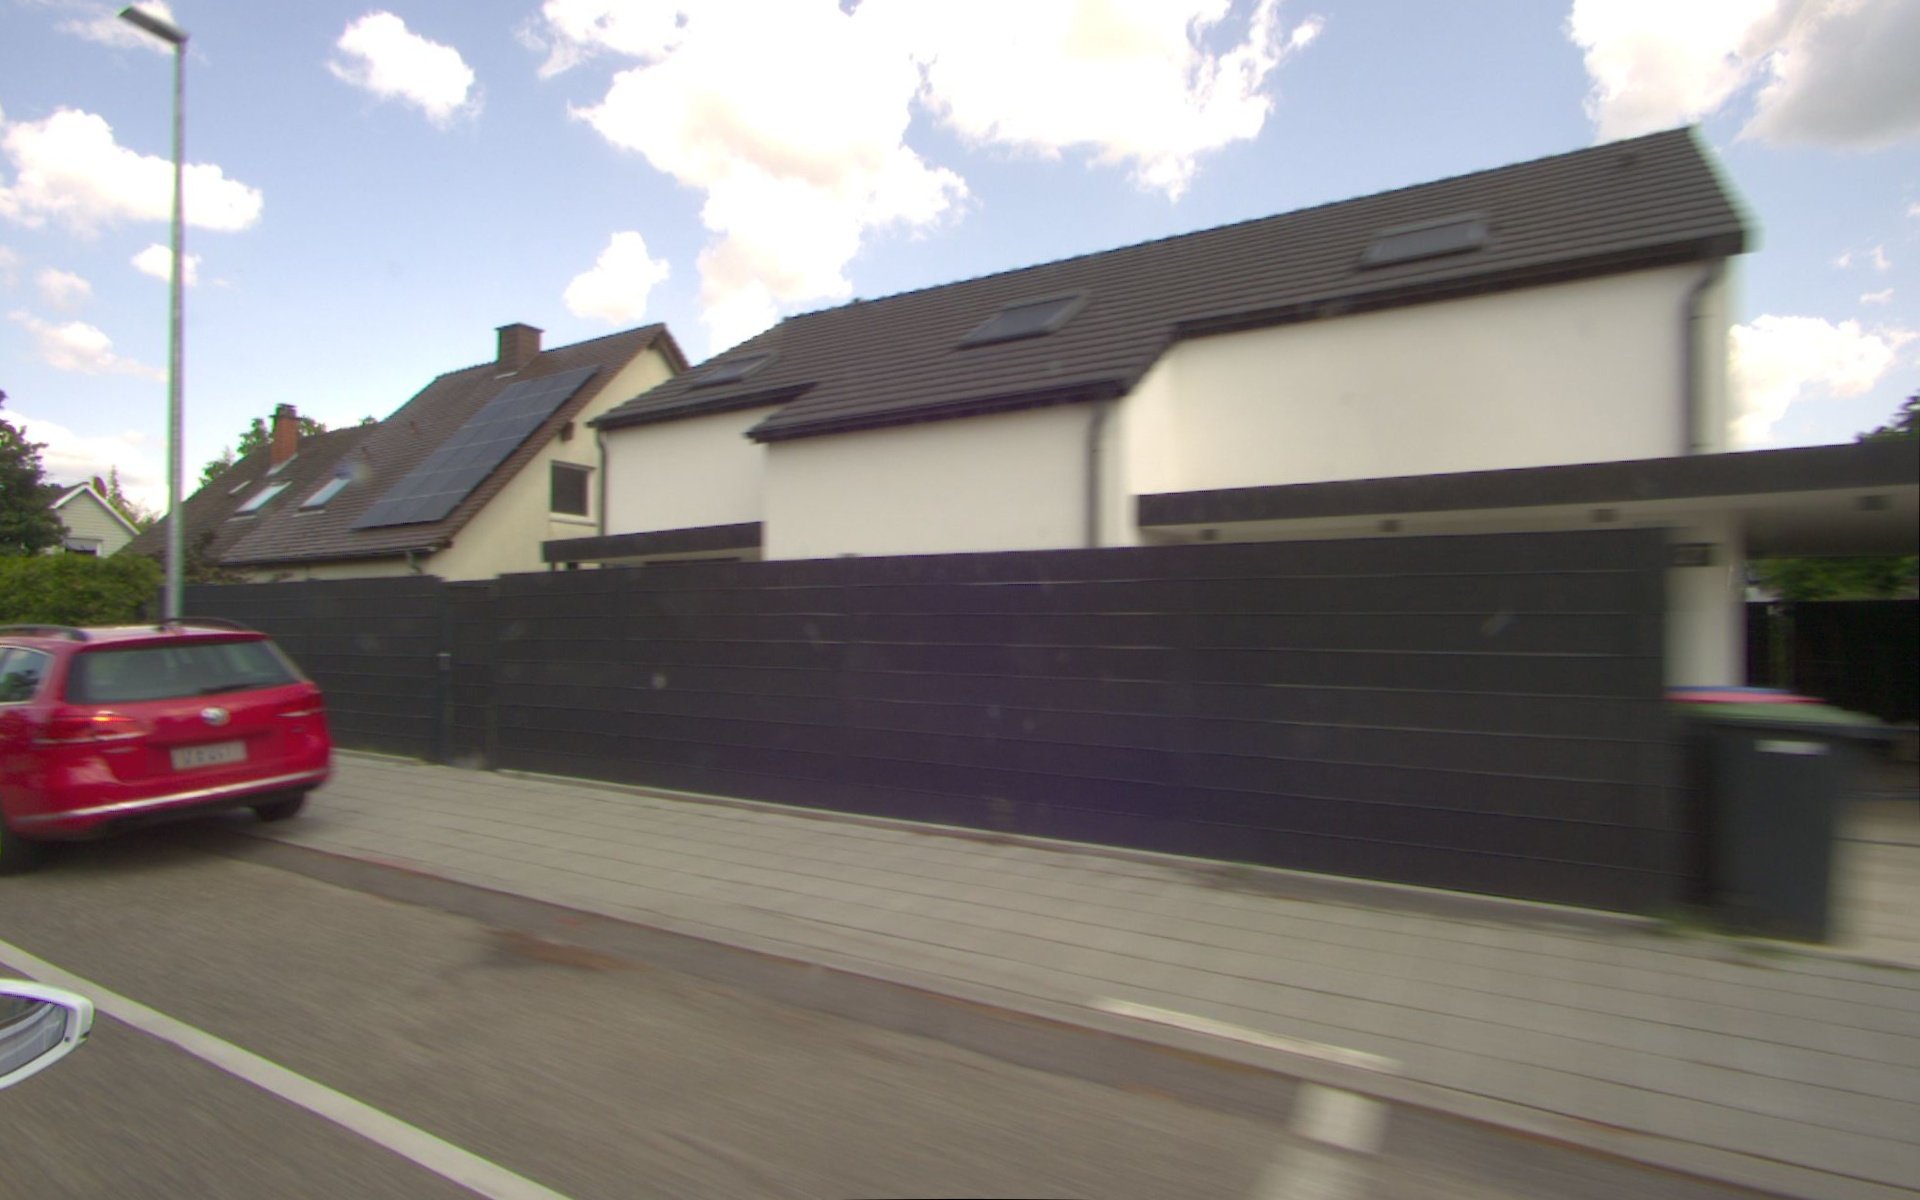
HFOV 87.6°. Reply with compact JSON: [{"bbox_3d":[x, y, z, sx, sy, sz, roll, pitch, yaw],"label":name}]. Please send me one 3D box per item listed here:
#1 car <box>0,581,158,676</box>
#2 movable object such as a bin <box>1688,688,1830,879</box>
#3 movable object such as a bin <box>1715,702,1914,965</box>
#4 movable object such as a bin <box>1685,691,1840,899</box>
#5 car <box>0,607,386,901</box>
[{"bbox_3d":[-21.654,0.646,22.642,5.308,2.083,1.980,2,-2,-45],"label":"car"},{"bbox_3d":[4.909,1.097,6.189,0.621,1.052,0.515,0,-1,32],"label":"movable object such as a bin"},{"bbox_3d":[3.909,1.026,4.626,0.621,1.052,0.515,0,-1,32],"label":"movable object such as a bin"},{"bbox_3d":[4.534,1.067,5.693,0.621,1.052,0.515,0,-1,32],"label":"movable object such as a bin"},{"bbox_3d":[-6.498,0.881,7.470,4.664,1.599,1.847,0,-1,32],"label":"car"}]
